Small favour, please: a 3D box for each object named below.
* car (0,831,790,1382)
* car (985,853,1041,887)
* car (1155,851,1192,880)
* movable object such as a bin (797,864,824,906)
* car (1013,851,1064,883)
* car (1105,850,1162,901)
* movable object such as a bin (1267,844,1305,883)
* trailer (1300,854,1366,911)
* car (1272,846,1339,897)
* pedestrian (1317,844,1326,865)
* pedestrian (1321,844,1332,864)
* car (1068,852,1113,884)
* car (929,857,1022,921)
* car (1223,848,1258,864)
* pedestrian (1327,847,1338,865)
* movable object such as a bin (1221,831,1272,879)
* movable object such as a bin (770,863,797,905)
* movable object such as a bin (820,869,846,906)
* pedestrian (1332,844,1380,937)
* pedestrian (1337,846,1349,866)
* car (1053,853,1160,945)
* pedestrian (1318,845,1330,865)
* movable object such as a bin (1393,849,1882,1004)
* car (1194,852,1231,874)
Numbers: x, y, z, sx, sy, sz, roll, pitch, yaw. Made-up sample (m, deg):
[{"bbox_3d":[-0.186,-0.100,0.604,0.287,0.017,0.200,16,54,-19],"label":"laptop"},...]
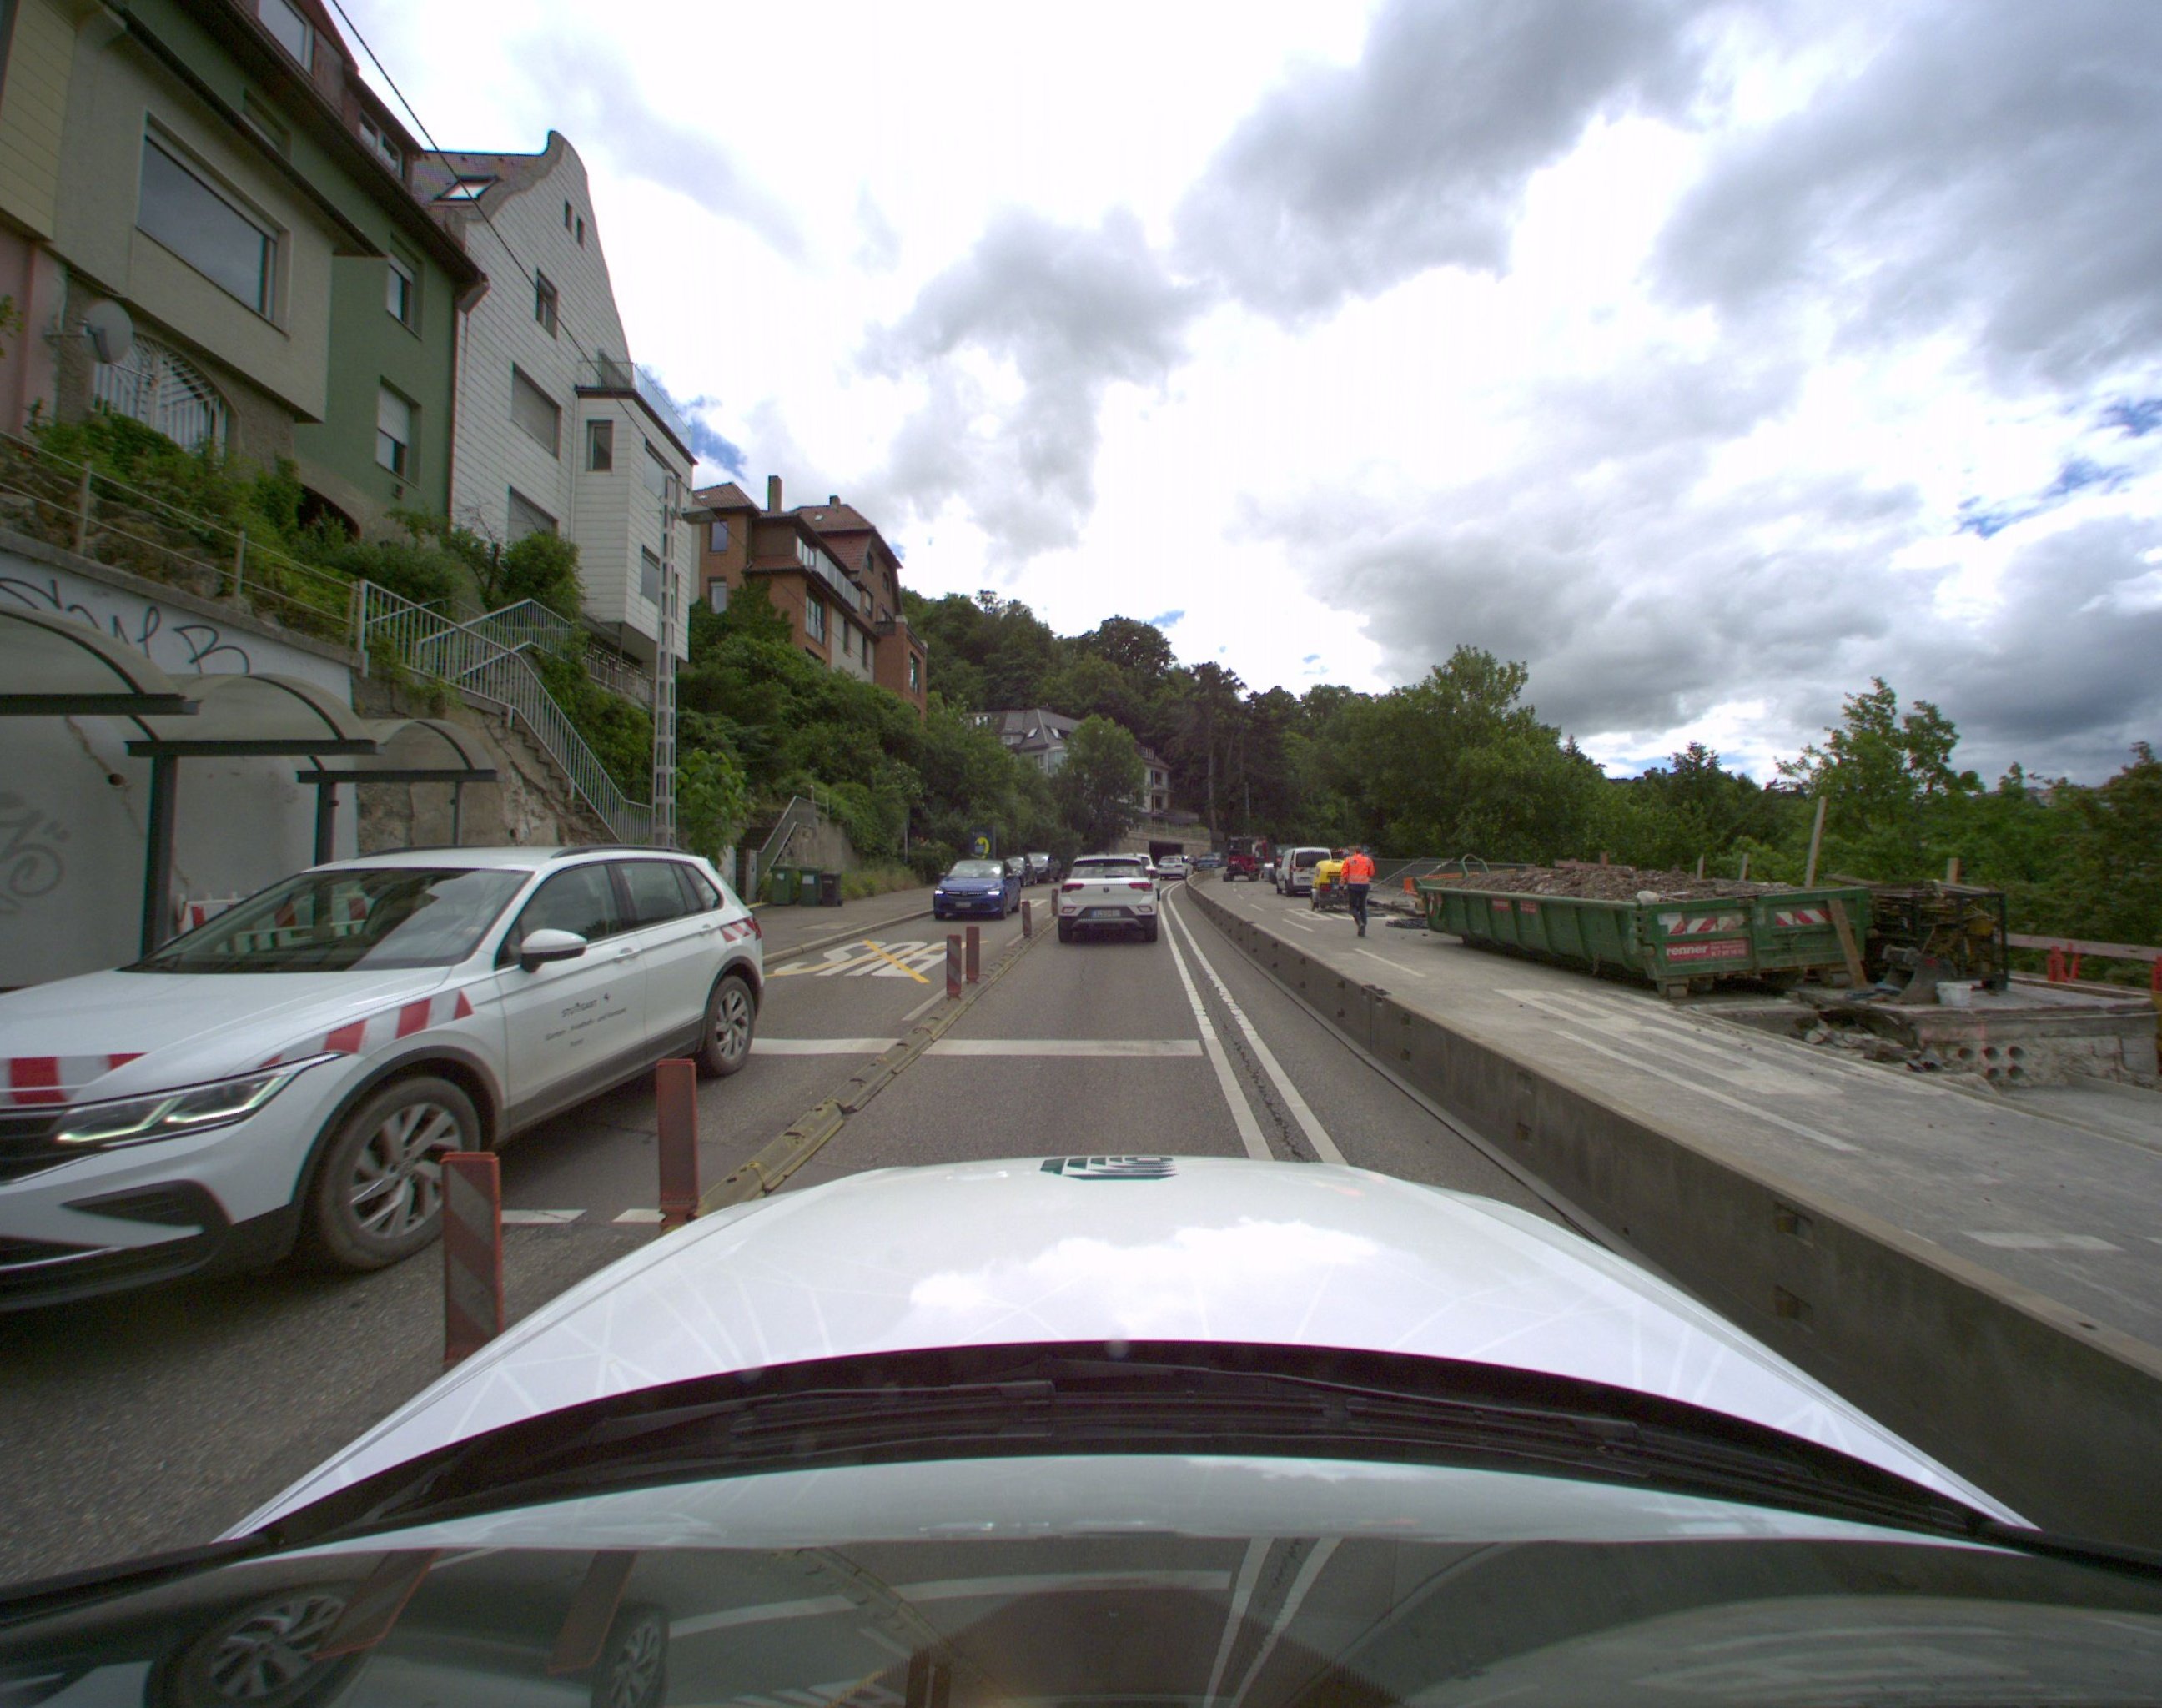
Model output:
[{"bbox_3d":[-3.412,0.743,4.529,1.834,1.599,4.267,-1,0,3],"label":"car"},{"bbox_3d":[-3.233,0.736,39.238,1.784,1.510,4.009,2,0,8],"label":"car"},{"bbox_3d":[5.821,0.667,50.746,1.797,1.663,4.014,-2,0,13],"label":"car"},{"bbox_3d":[-7.127,0.811,21.457,0.466,1.053,0.624,1,0,2],"label":"movable object such as a bin"},{"bbox_3d":[-2.261,0.660,44.502,1.675,1.606,4.200,2,0,12],"label":"car"},{"bbox_3d":[1.966,0.712,29.295,1.800,1.663,4.007,-2,0,6],"label":"car"},{"bbox_3d":[10.709,0.459,42.764,1.690,1.943,4.177,-1,0,10],"label":"movable object such as a bin"},{"bbox_3d":[7.038,0.746,22.981,1.281,1.475,3.643,0,0,9],"label":"trailer"},{"bbox_3d":[8.438,0.609,30.886,1.823,1.779,4.277,-1,0,7],"label":"car"},{"bbox_3d":[21.555,0.026,73.079,0.685,1.906,0.828,-1,0,13],"label":"pedestrian"},{"bbox_3d":[22.534,0.032,74.779,0.868,1.822,0.883,-1,0,25],"label":"pedestrian"},{"bbox_3d":[0.583,0.726,43.809,1.804,1.622,3.830,0,0,10],"label":"car"},{"bbox_3d":[-2.567,0.811,20.668,1.720,1.420,3.822,-1,0,2],"label":"car"},{"bbox_3d":[15.645,0.152,79.849,1.750,1.568,4.256,0,0,36],"label":"car"},{"bbox_3d":[22.489,0.191,72.819,0.775,1.608,0.671,-2,0,41],"label":"pedestrian"},{"bbox_3d":[9.748,0.068,47.701,2.193,2.663,4.969,-1,0,20],"label":"movable object such as a bin"},{"bbox_3d":[-7.848,0.784,21.495,0.466,1.053,0.624,1,0,2],"label":"movable object such as a bin"},{"bbox_3d":[-6.557,0.887,21.541,0.466,0.934,0.624,1,0,2],"label":"movable object such as a bin"},{"bbox_3d":[5.168,0.663,15.330,0.642,1.701,0.851,0,0,2],"label":"pedestrian"},{"bbox_3d":[23.070,0.186,71.730,0.775,1.688,0.790,-2,0,41],"label":"pedestrian"},{"bbox_3d":[0.517,0.754,15.735,1.802,1.531,4.002,0,0,2],"label":"car"},{"bbox_3d":[22.079,0.075,73.885,0.868,1.731,0.883,-1,0,25],"label":"pedestrian"},{"bbox_3d":[7.016,0.746,11.838,2.366,1.561,7.100,0,0,1],"label":"movable object such as a bin"},{"bbox_3d":[10.049,0.655,62.061,1.778,1.510,4.022,-2,0,23],"label":"car"}]
